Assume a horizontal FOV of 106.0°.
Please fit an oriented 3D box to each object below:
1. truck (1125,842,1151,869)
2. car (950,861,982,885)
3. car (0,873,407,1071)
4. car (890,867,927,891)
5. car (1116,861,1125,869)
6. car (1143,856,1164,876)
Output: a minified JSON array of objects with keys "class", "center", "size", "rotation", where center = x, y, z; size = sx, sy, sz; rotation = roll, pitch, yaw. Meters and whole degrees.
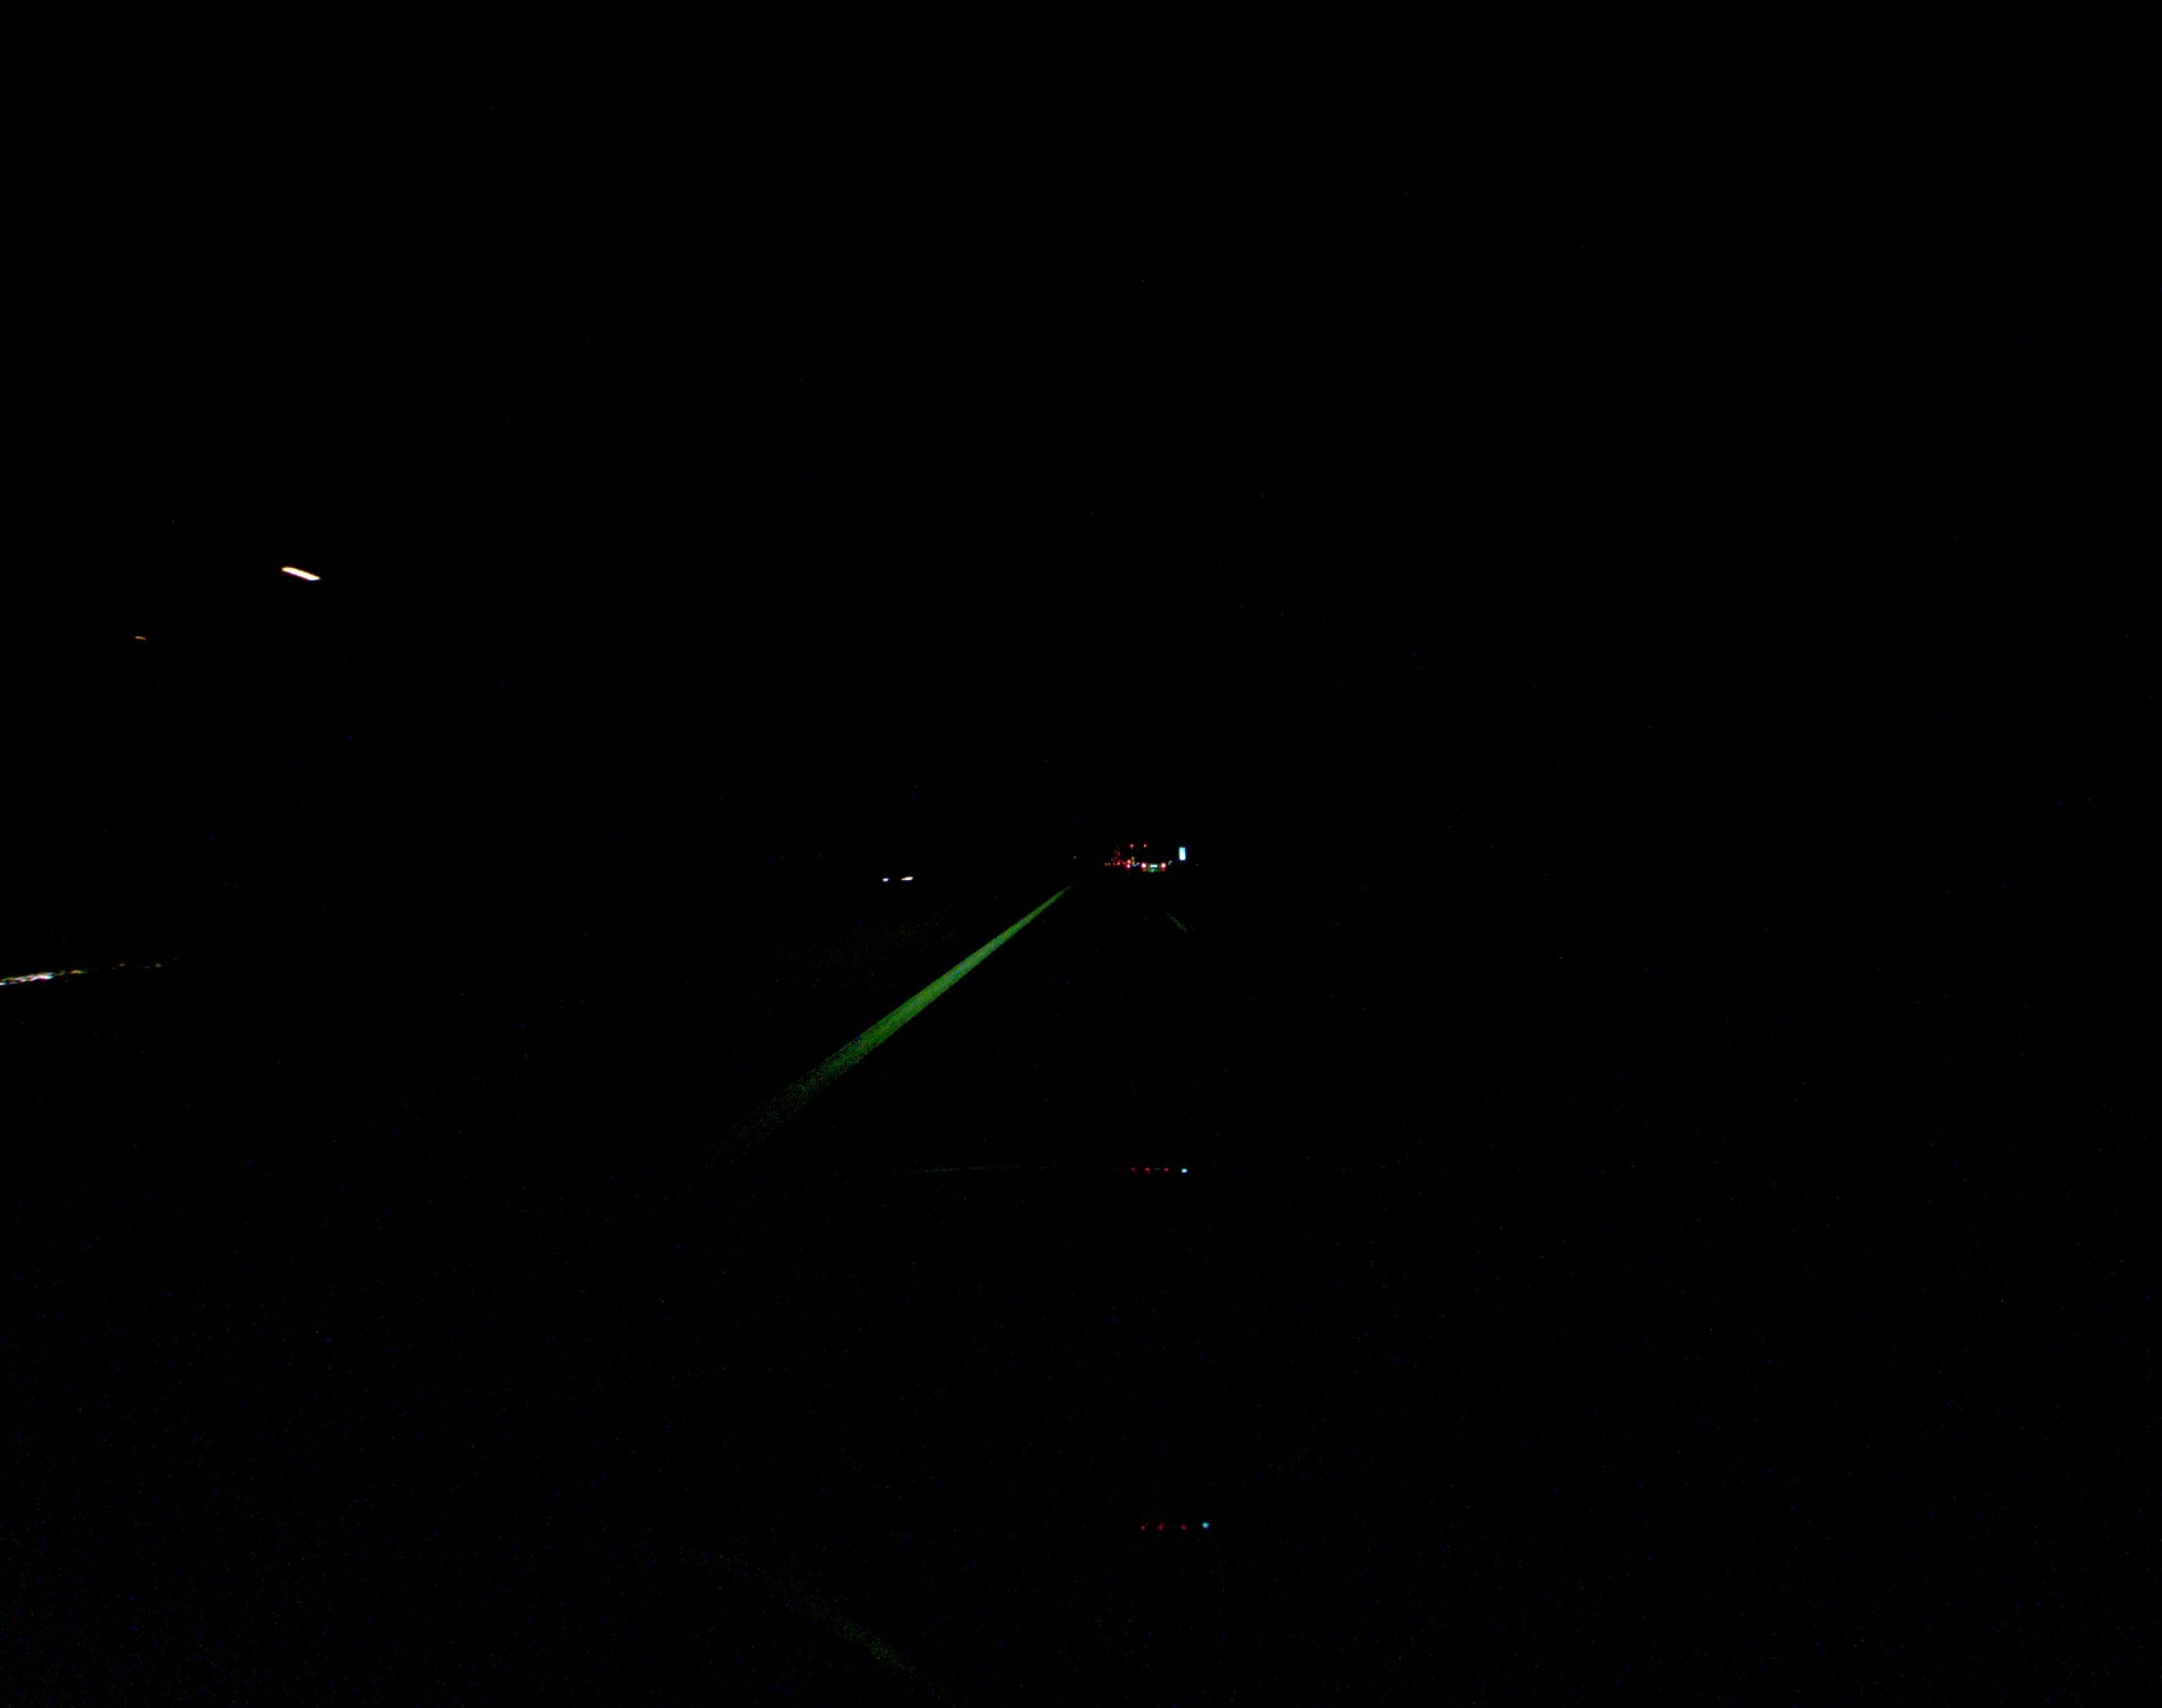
[{"class":"truck","center":[7.248,0.115,104.777],"size":[3.032,3.324,10.149],"rotation":[0,1,3]},{"class":"car","center":[-9.438,1.542,67.262],"size":[1.834,1.770,5.059],"rotation":[0,1,1]},{"class":"car","center":[-11.581,1.242,10.371],"size":[1.682,1.755,5.059],"rotation":[0,1,1]},{"class":"car","center":[-13.678,1.973,64.714],"size":[1.734,1.640,5.059],"rotation":[0,1,1]},{"class":"car","center":[8.716,2.420,180.247],"size":[1.813,1.466,4.251],"rotation":[0,1,3]},{"class":"car","center":[5.586,0.918,62.899],"size":[1.341,1.387,3.502],"rotation":[0,1,1]}]
